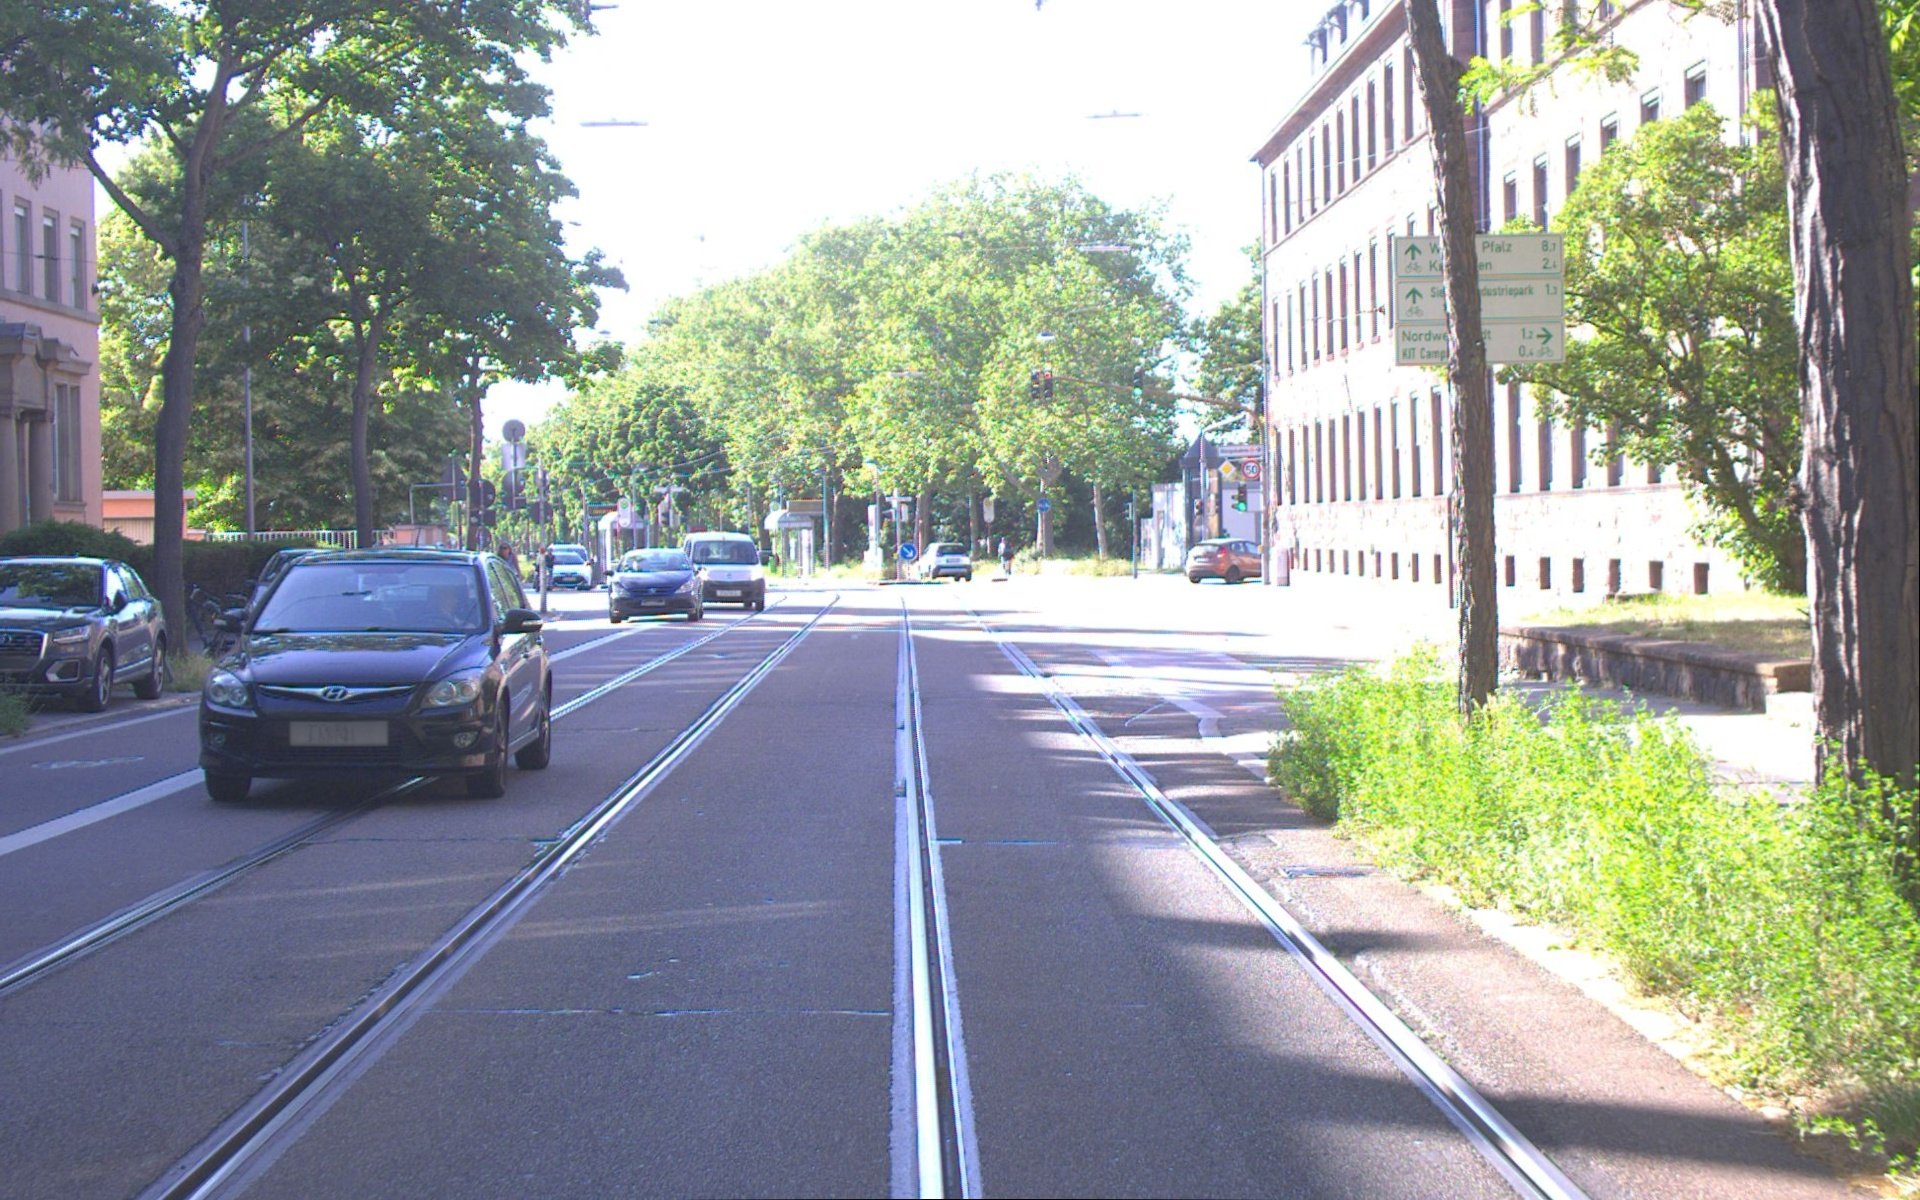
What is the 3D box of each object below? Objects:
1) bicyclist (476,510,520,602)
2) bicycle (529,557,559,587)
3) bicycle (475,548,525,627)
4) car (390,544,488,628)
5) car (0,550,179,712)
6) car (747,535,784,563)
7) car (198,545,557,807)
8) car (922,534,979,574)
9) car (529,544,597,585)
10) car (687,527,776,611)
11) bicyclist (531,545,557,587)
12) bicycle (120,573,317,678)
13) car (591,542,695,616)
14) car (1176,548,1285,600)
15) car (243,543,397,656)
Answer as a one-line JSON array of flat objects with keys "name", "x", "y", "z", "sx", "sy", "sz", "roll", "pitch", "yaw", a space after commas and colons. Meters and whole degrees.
[{"name": "bicyclist", "x": -7.486, "y": -0.714, "z": 55.727, "sx": 0.557, "sy": 1.451, "sz": 0.869, "roll": -4, "pitch": 1, "yaw": -4}, {"name": "bicycle", "x": -15.173, "y": -1.030, "z": 125.340, "sx": 0.749, "sy": 1.083, "sz": 2.178, "roll": -1, "pitch": 1, "yaw": -16}, {"name": "bicycle", "x": -7.447, "y": -0.216, "z": 55.730, "sx": 0.557, "sy": 1.194, "sz": 2.292, "roll": -4, "pitch": 1, "yaw": -4}, {"name": "car", "x": -9.862, "y": -0.287, "z": 65.229, "sx": 1.581, "sy": 1.483, "sz": 3.613, "roll": 2, "pitch": 1, "yaw": -5}, {"name": "car", "x": -9.279, "y": 0.263, "z": 35.085, "sx": 1.745, "sy": 1.485, "sz": 4.324, "roll": 2, "pitch": 1, "yaw": -2}, {"name": "car", "x": -11.540, "y": -3.017, "z": 203.696, "sx": 1.942, "sy": 1.605, "sz": 4.001, "roll": -1, "pitch": 1, "yaw": -6}, {"name": "car", "x": -3.556, "y": 0.401, "z": 21.634, "sx": 1.699, "sy": 1.466, "sz": 4.072, "roll": 0, "pitch": 1, "yaw": -2}, {"name": "car", "x": -0.399, "y": -1.931, "z": 143.487, "sx": 1.942, "sy": 1.605, "sz": 4.001, "roll": -1, "pitch": 1, "yaw": -6}, {"name": "car", "x": -14.952, "y": -1.331, "z": 129.408, "sx": 1.993, "sy": 1.499, "sz": 4.001, "roll": -1, "pitch": 1, "yaw": -14}, {"name": "car", "x": -5.304, "y": -0.739, "z": 80.267, "sx": 1.809, "sy": 1.882, "sz": 4.441, "roll": -1, "pitch": 1, "yaw": -1}, {"name": "bicyclist", "x": -15.161, "y": -1.232, "z": 125.270, "sx": 0.749, "sy": 1.499, "sz": 0.964, "roll": -1, "pitch": 1, "yaw": -16}, {"name": "bicycle", "x": -9.085, "y": 0.302, "z": 42.136, "sx": 2.285, "sy": 1.194, "sz": 0.559, "roll": 2, "pitch": 2, "yaw": 6}, {"name": "car", "x": -6.290, "y": -0.434, "z": 67.799, "sx": 1.809, "sy": 1.382, "sz": 4.441, "roll": -1, "pitch": 1, "yaw": -8}, {"name": "car", "x": 8.981, "y": -0.873, "z": 114.109, "sx": 1.843, "sy": 1.649, "sz": 3.571, "roll": 0, "pitch": 1, "yaw": 41}, {"name": "car", "x": -9.547, "y": -0.047, "z": 51.539, "sx": 1.745, "sy": 1.564, "sz": 4.070, "roll": 2, "pitch": 1, "yaw": -4}]
